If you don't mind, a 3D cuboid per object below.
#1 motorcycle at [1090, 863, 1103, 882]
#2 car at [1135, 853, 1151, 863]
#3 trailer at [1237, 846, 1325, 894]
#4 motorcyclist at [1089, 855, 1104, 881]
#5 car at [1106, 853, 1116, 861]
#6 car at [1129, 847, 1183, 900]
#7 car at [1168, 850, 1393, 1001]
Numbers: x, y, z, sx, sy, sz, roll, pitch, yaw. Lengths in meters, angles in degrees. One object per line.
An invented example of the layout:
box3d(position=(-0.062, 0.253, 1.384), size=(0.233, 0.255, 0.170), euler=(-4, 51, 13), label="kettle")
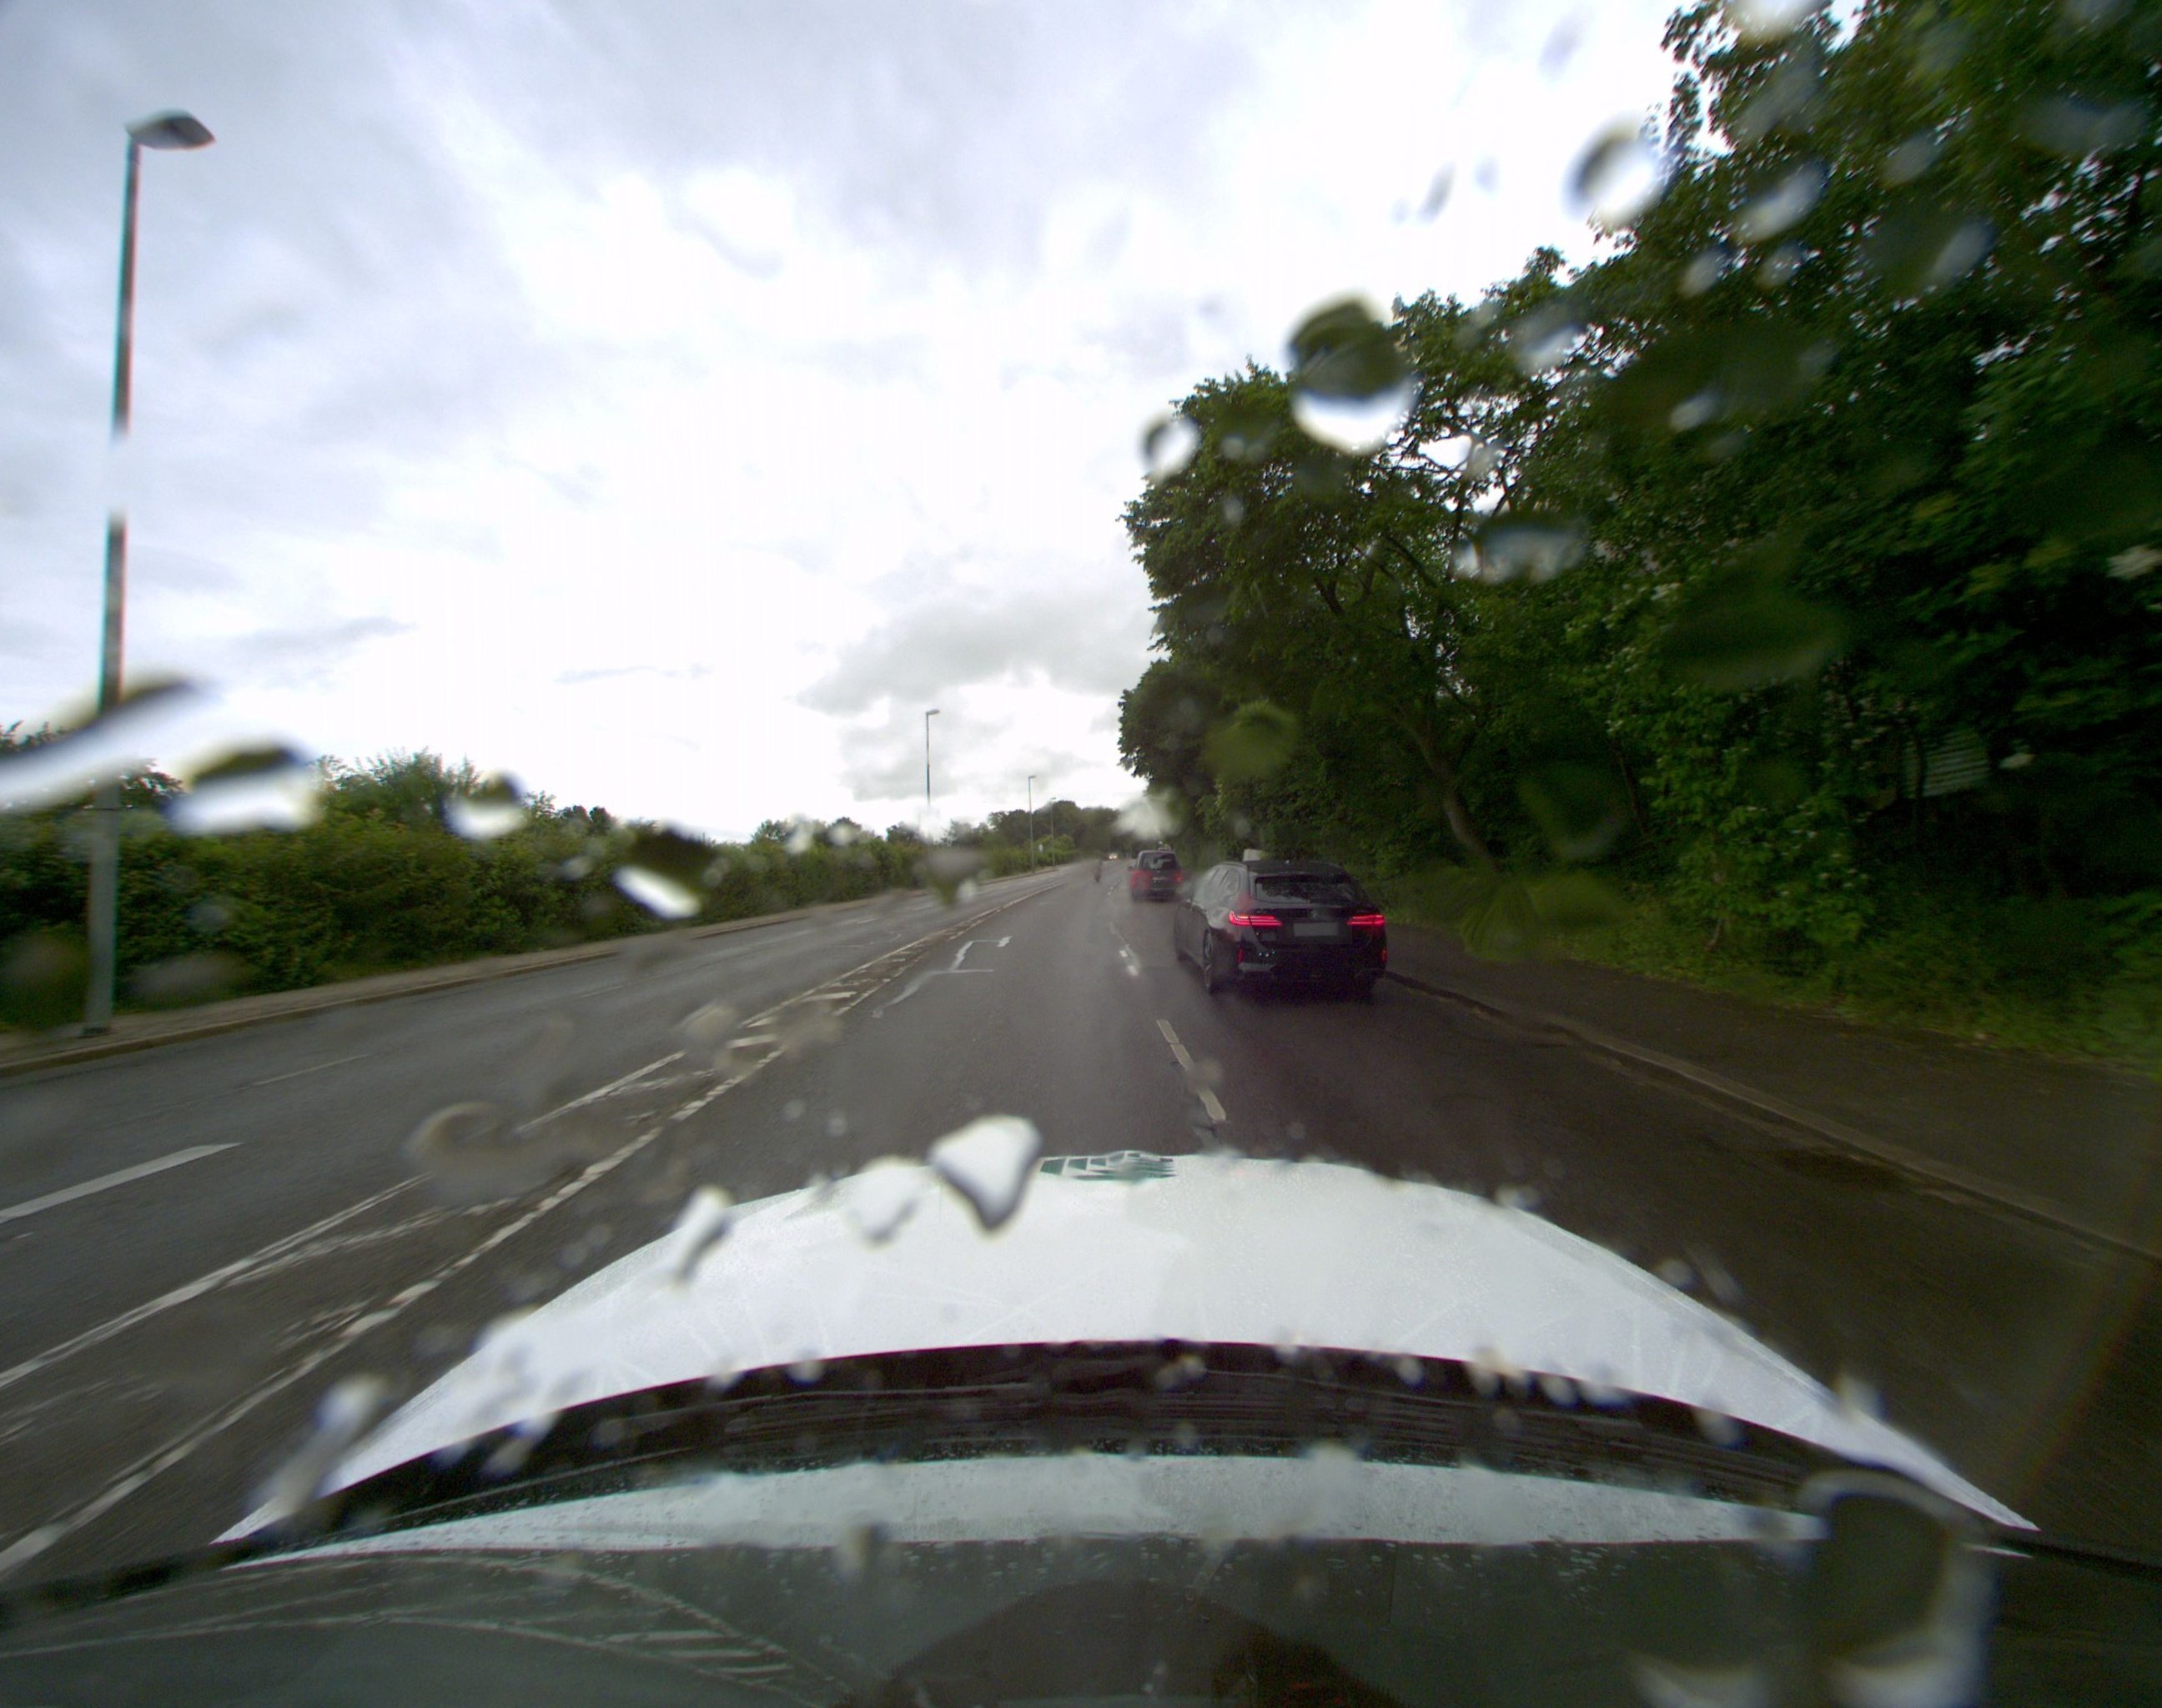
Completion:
box3d(position=(0.997, 1.198, 52.741), size=(0.738, 1.119, 1.429), euler=(-1, 1, 5), label="motorcycle")
box3d(position=(9.108, 0.587, 119.261), size=(2.003, 1.415, 4.497), euler=(-1, 1, 8), label="car")
box3d(position=(8.543, 0.685, 34.912), size=(3.335, 1.647, 1.199), euler=(7, 0, 2), label="trailer")
box3d(position=(1.005, 0.913, 52.765), size=(0.841, 1.647, 0.468), euler=(-1, 1, 4), label="motorcyclist")
box3d(position=(6.480, 0.675, 175.844), size=(1.746, 1.662, 3.846), euler=(0, 0, -6), label="car")
box3d(position=(2.740, 0.672, 30.386), size=(1.760, 1.810, 3.907), euler=(-1, 0, 2), label="car")
box3d(position=(2.260, 0.754, 10.197), size=(1.760, 1.536, 3.668), euler=(0, -1, -3), label="car")
